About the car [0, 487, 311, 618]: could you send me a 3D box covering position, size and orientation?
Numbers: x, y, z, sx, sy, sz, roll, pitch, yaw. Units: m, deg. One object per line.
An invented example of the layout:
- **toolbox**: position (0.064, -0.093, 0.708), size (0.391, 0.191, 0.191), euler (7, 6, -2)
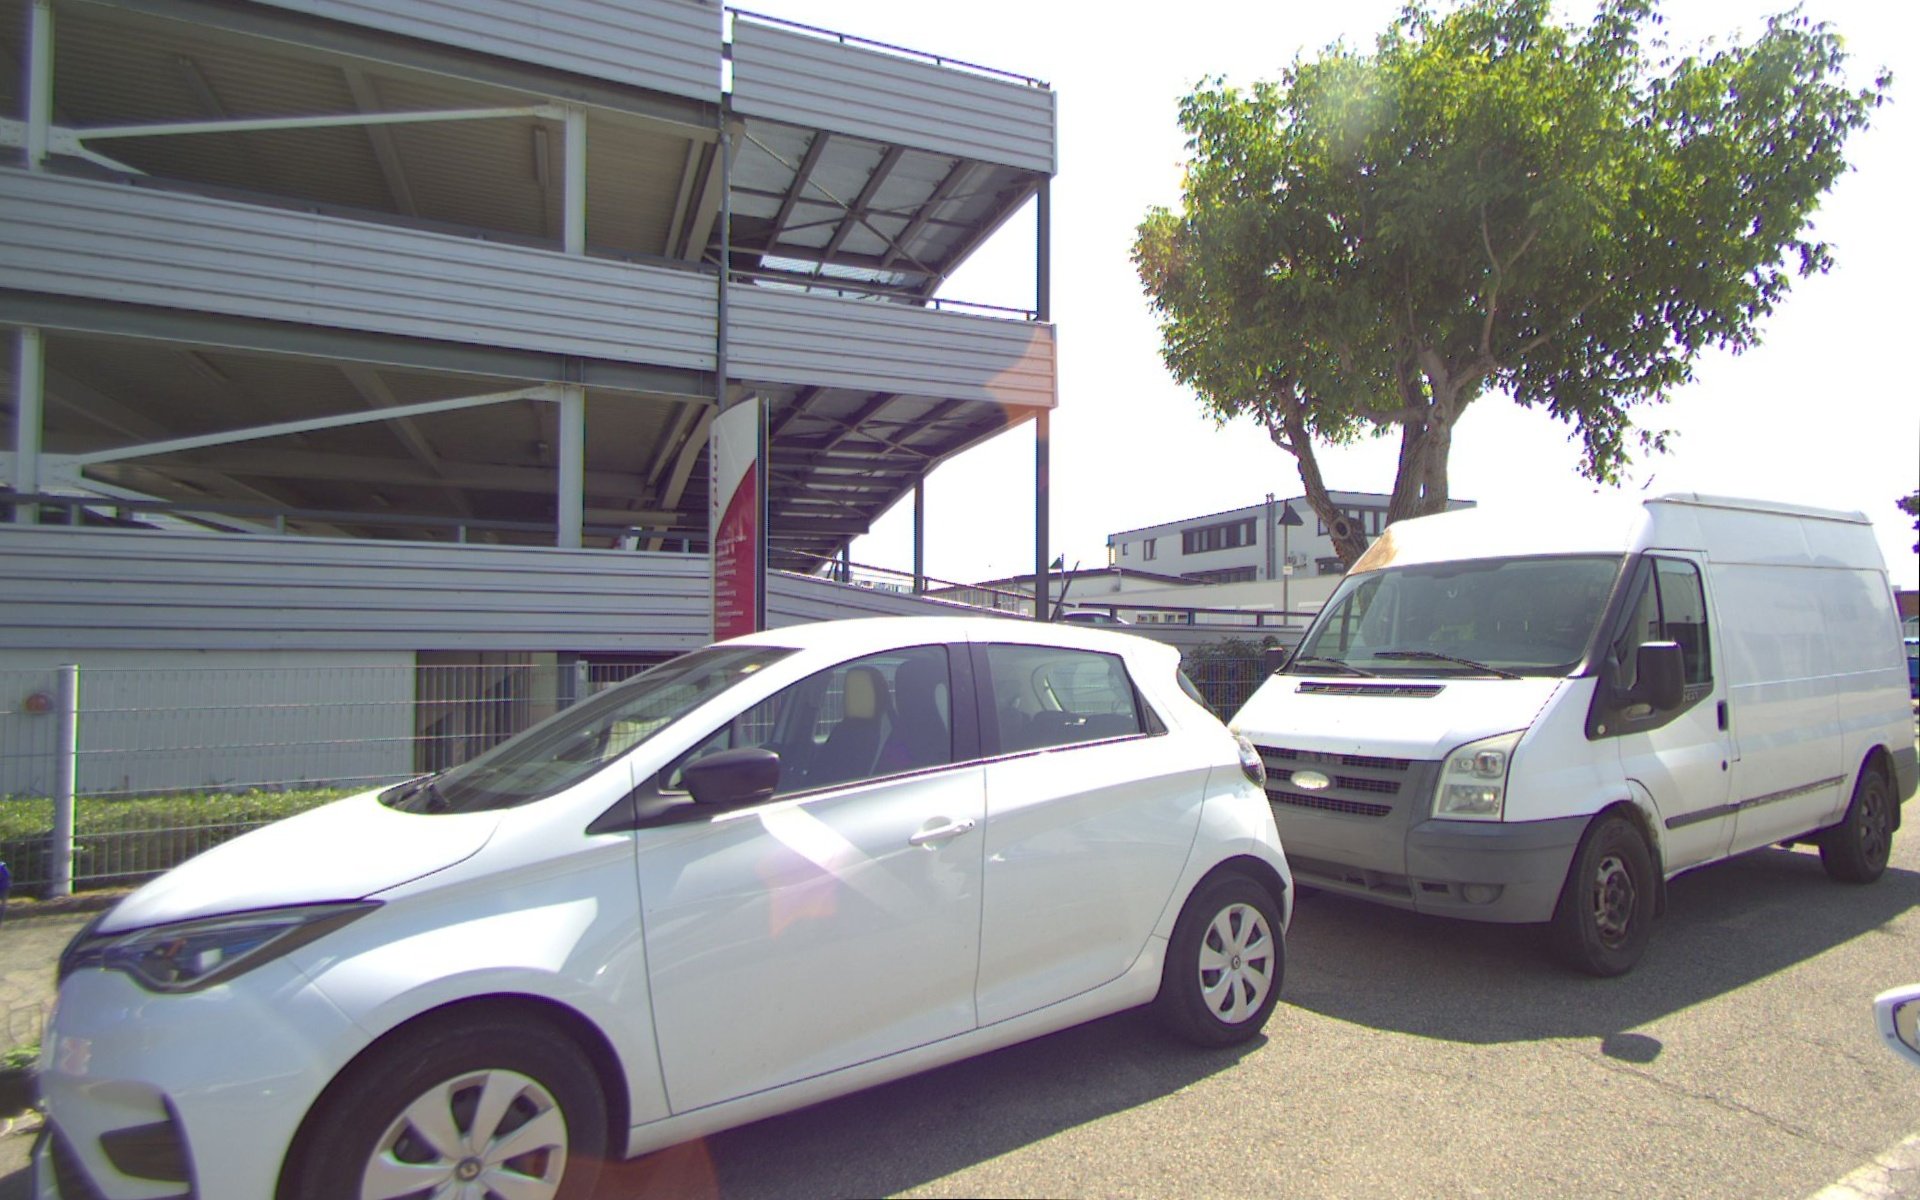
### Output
- **car**: position (-12.629, -0.691, 15.549), size (3.920, 1.693, 1.819), euler (3, -2, 3)

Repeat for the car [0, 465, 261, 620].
- **car**: position (-11.492, -0.721, 12.735), size (3.920, 1.693, 1.819), euler (3, -2, 3)

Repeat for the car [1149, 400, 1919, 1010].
- **car**: position (3.780, 0.527, 6.206), size (5.172, 2.397, 1.995), euler (2, -4, -32)

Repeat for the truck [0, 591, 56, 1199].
- **truck**: position (-3.799, 0.753, 1.738), size (3.107, 1.643, 1.132), euler (2, -4, -33)

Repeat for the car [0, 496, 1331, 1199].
- **car**: position (-0.641, 0.762, 3.517), size (3.934, 1.645, 1.694), euler (3, -5, -35)

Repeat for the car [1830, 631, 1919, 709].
- **car**: position (20.338, 1.456, 21.335), size (3.634, 1.550, 1.805), euler (2, -3, -32)

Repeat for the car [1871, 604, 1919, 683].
- **car**: position (32.102, 1.389, 32.144), size (1.757, 2.546, 4.064), euler (2, -2, -31)
